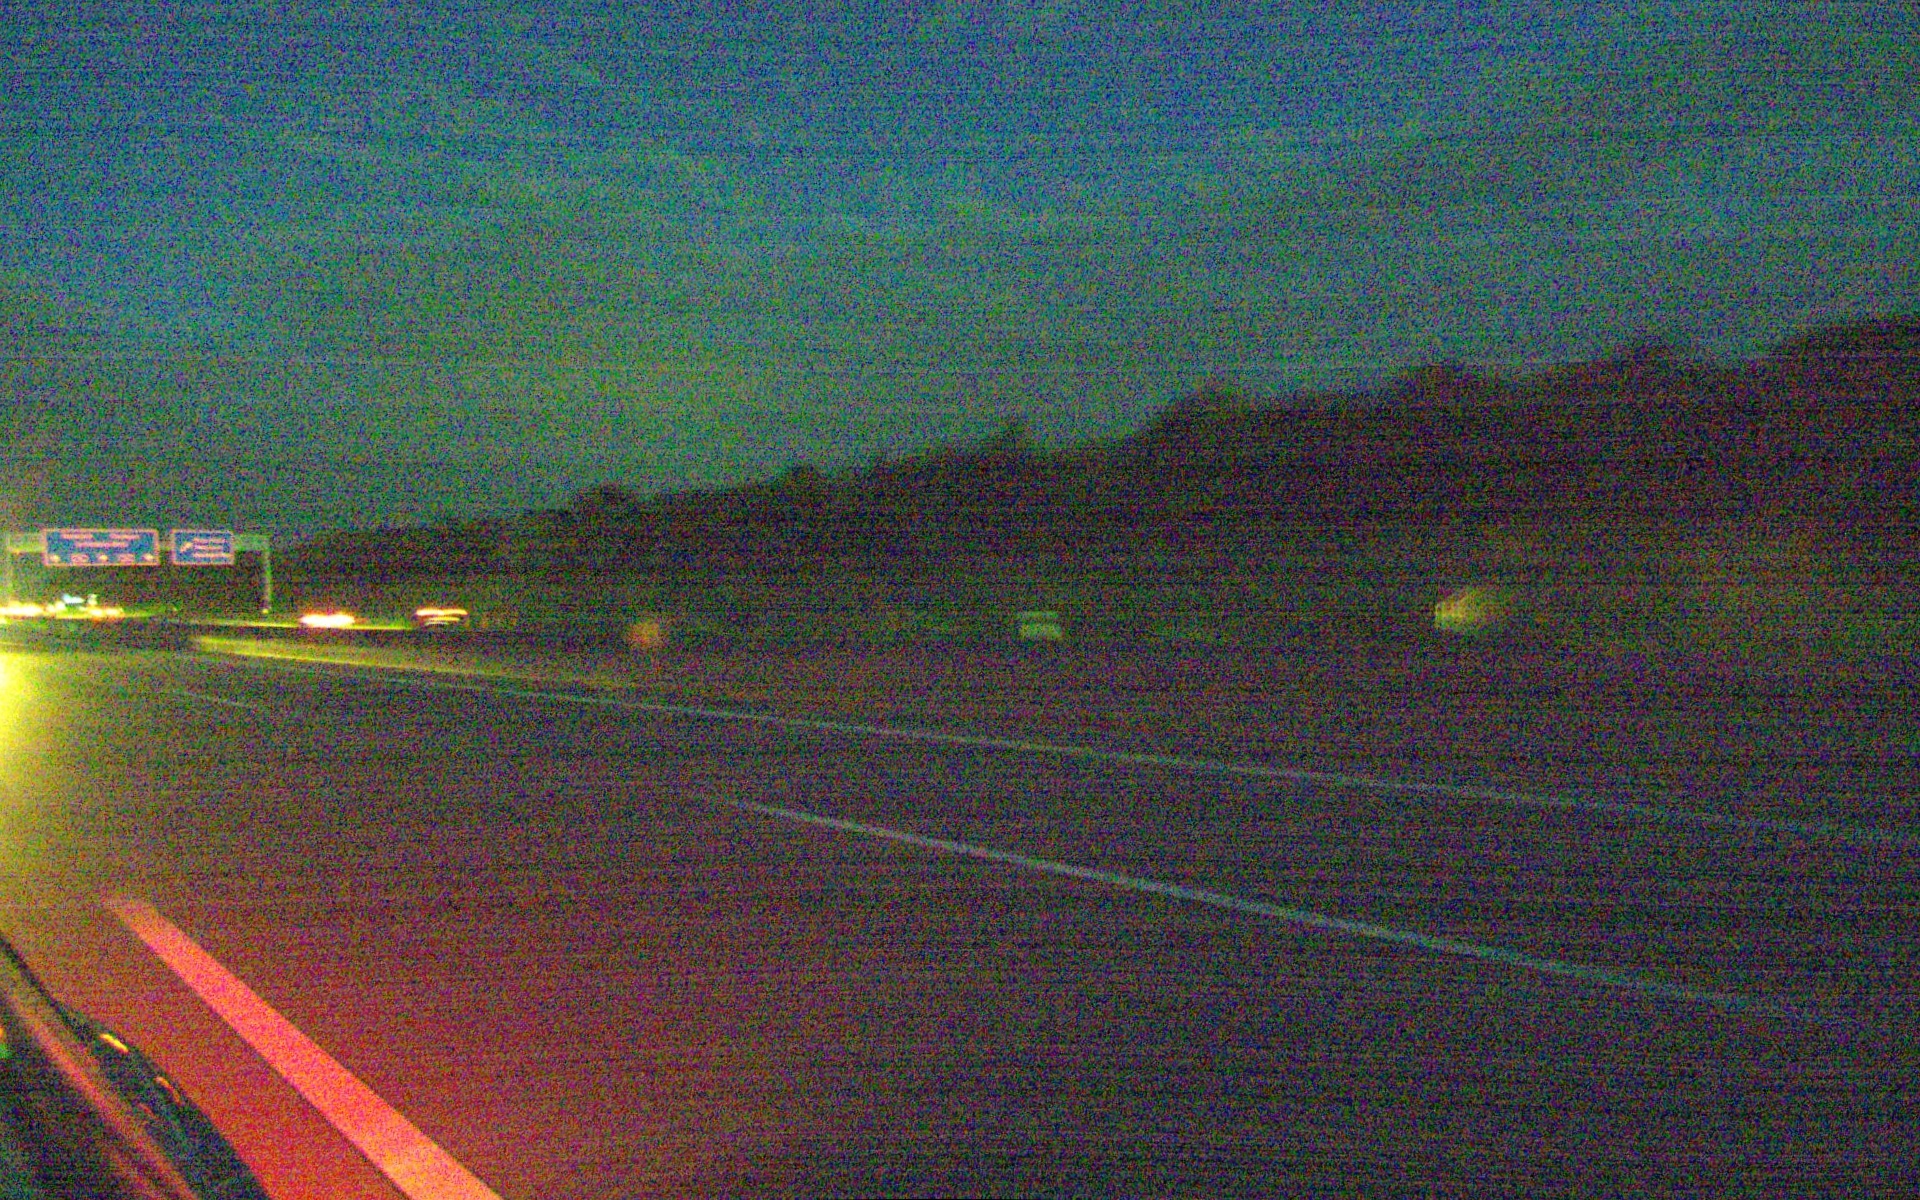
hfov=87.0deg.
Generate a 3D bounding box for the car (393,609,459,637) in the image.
[{"bbox_3d":[-29.394,1.263,55.693,4.659,1.440,1.755,-1,0,43],"label":"car"}]

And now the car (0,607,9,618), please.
[{"bbox_3d":[-150.215,1.958,158.195,4.660,1.747,1.972,-1,0,43],"label":"car"}]

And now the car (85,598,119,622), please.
[{"bbox_3d":[-112.994,1.289,133.259,8.332,2.958,2.431,-1,0,43],"label":"car"}]

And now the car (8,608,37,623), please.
[{"bbox_3d":[-126.630,2.048,136.641,5.419,1.899,2.124,-1,0,40],"label":"car"}]

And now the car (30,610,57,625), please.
[{"bbox_3d":[-109.978,2.083,121.369,4.659,1.747,1.972,-1,0,43],"label":"car"}]

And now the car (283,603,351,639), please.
[{"bbox_3d":[-35.882,1.148,56.440,4.659,1.899,2.082,-1,0,43],"label":"car"}]
